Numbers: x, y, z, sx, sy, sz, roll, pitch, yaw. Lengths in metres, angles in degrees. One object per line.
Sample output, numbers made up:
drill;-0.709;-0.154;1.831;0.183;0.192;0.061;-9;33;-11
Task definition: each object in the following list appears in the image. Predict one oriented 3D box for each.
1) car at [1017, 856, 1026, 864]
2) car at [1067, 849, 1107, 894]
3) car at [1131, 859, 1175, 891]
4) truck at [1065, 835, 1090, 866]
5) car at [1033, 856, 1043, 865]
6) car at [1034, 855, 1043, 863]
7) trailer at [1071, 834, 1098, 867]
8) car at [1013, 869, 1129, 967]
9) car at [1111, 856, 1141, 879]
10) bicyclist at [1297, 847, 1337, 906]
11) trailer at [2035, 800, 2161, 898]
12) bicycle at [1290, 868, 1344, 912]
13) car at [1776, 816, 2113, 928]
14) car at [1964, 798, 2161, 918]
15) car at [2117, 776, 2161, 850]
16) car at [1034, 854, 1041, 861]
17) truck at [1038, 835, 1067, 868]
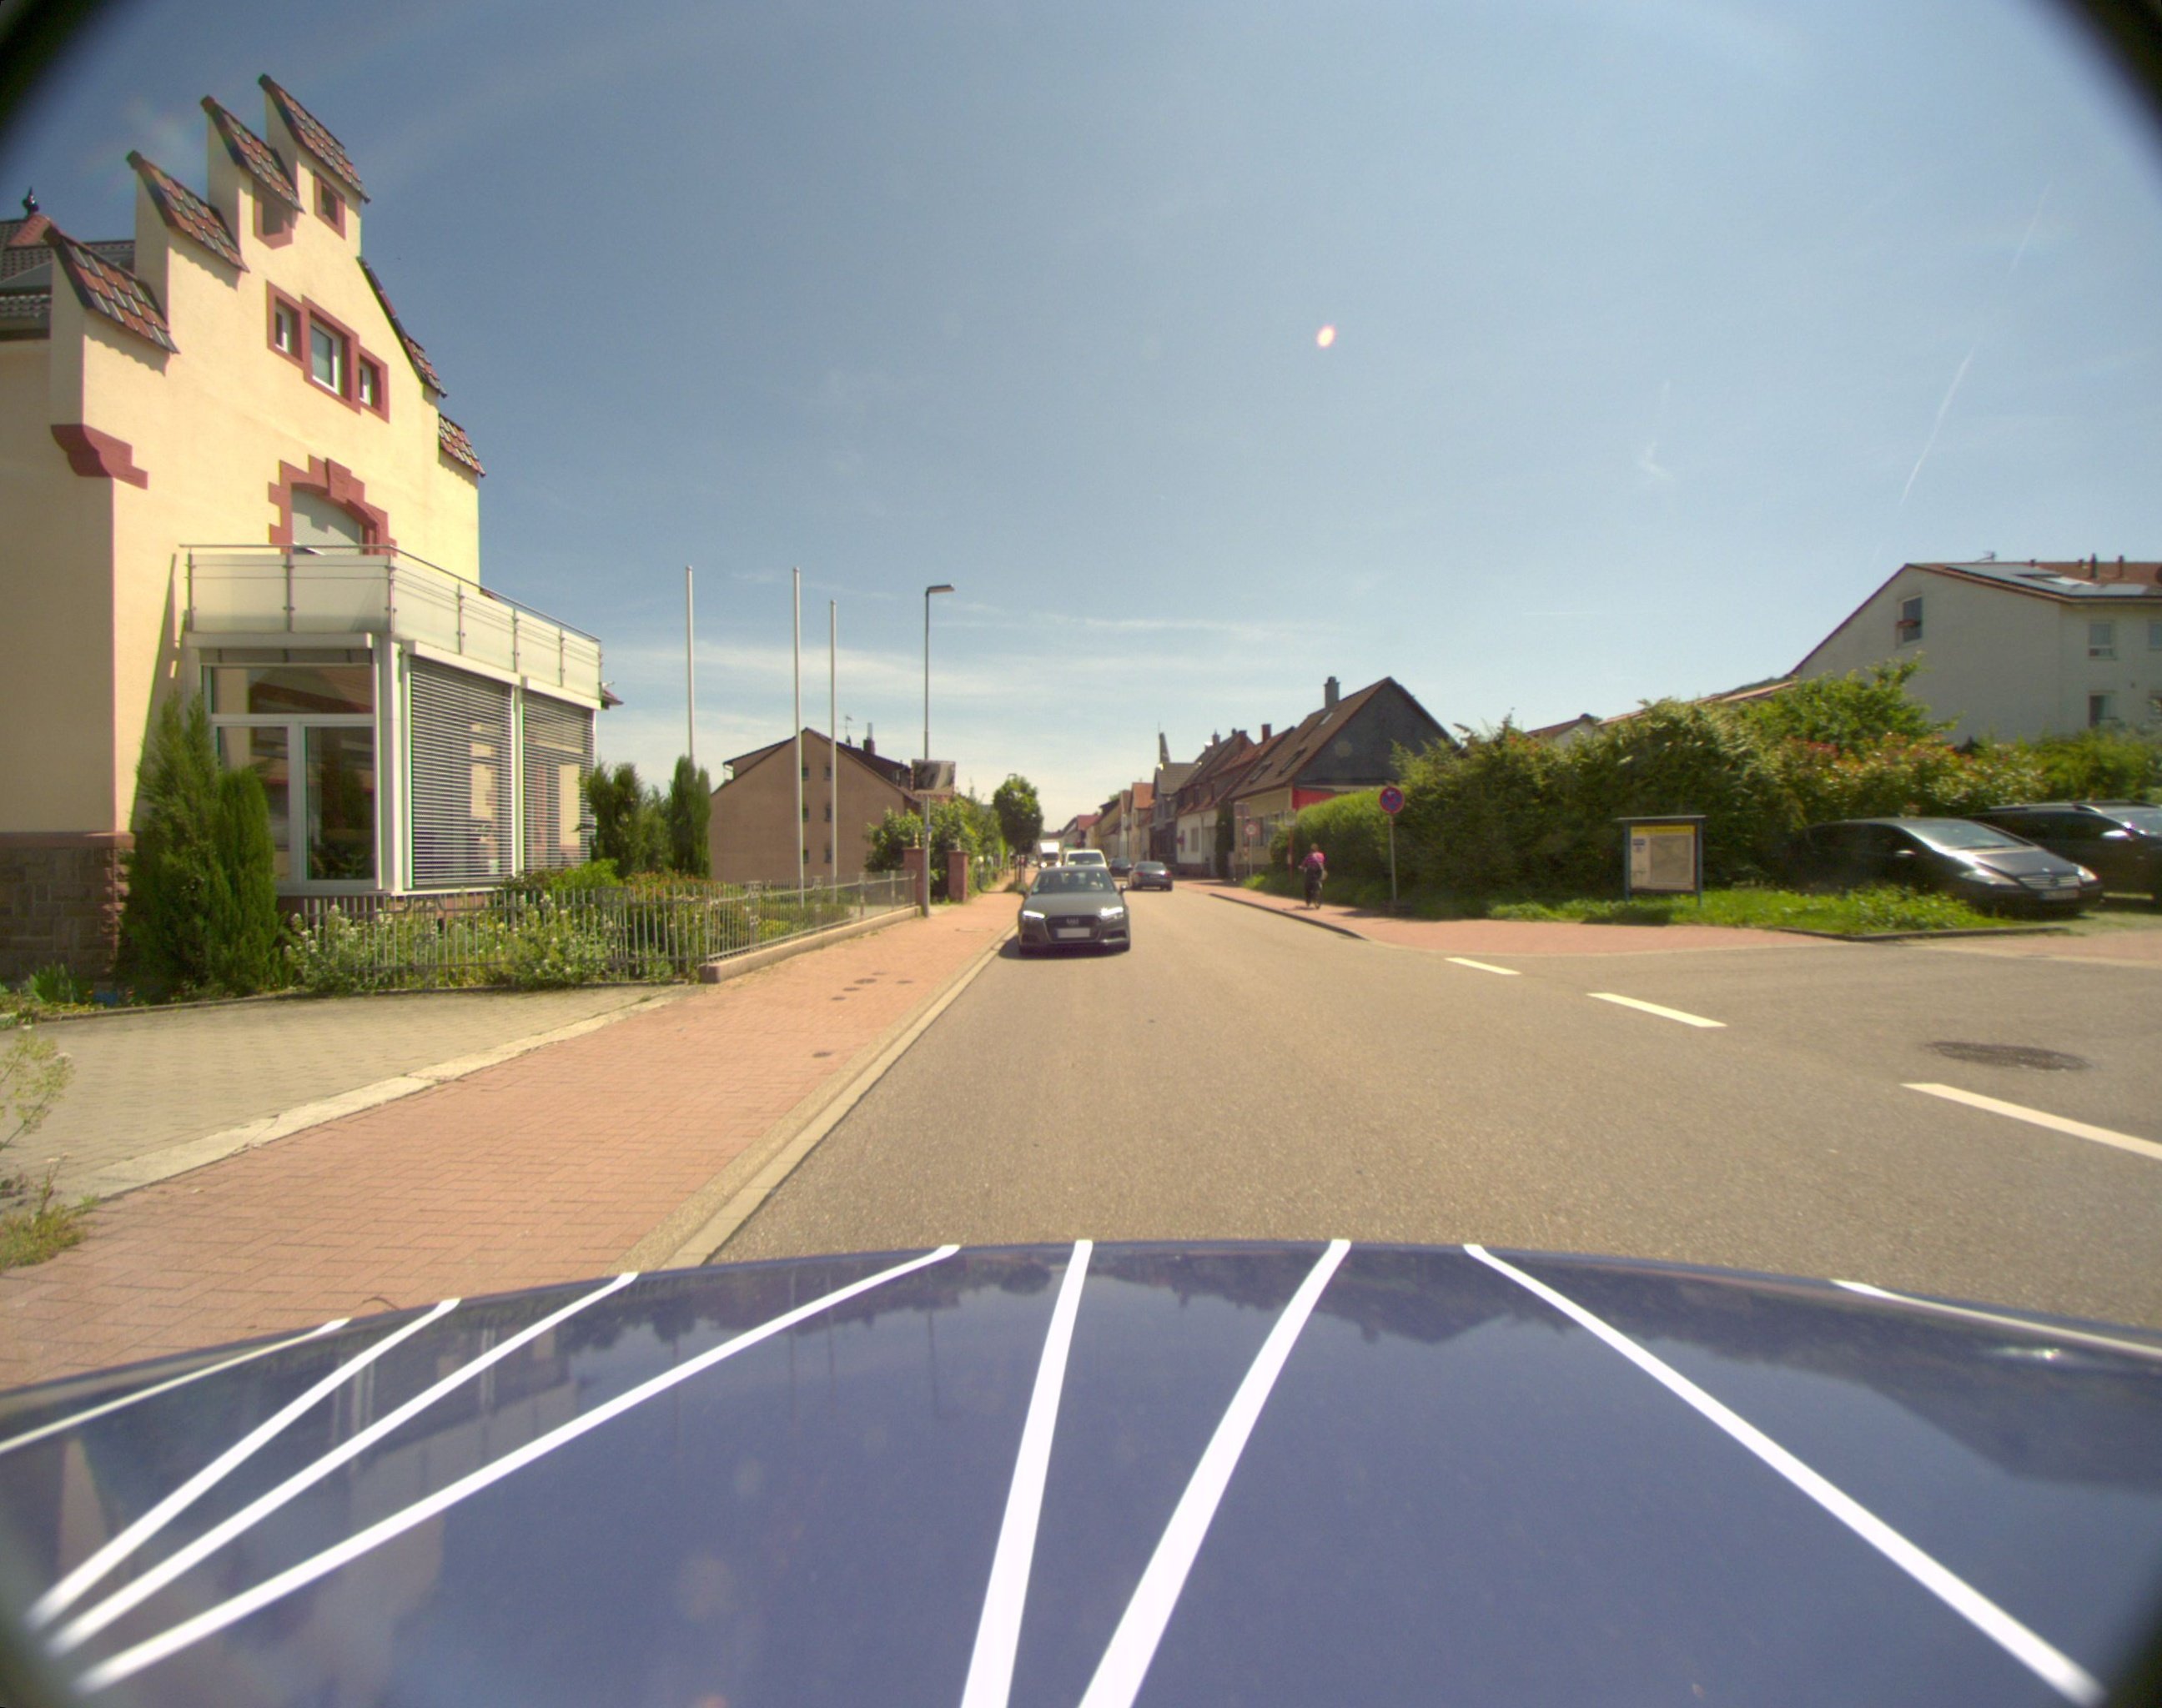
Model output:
car;-11.718;1.106;150.264;1.637;1.572;3.568;1;0;-4
car;0.216;0.723;33.644;1.637;1.833;3.569;-1;0;-1
car;3.312;0.945;35.666;1.710;1.362;3.868;2;0;1
truck;-0.490;-0.419;96.651;2.574;3.679;10.074;0;0;-4
car;-7.629;1.164;134.336;1.508;1.432;3.534;-3;1;-5
car;-8.468;0.999;150.858;1.508;1.432;3.534;-3;1;-5
trailer;0.308;-0.405;87.420;2.537;3.627;8.458;0;0;-4
car;-0.157;0.998;13.382;1.705;1.346;4.000;-2;0;0
car;2.990;0.883;51.226;1.734;1.451;4.694;0;0;0
bicyclist;6.286;0.590;20.286;0.660;1.485;0.909;-4;1;-3
trailer;19.494;-0.112;13.553;1.430;1.654;2.691;-5;0;-4
bicycle;6.305;0.939;20.412;0.673;1.050;2.025;-4;0;-3
car;14.227;0.252;12.880;1.627;1.532;3.652;-3;0;4
car;16.984;0.018;12.173;1.627;1.769;3.511;-3;0;4
car;27.212;-1.053;17.941;3.639;1.724;1.420;-3;1;-2
car;-9.544;0.849;167.155;1.508;1.432;3.534;-3;1;-5
truck;-3.401;-0.263;87.415;2.899;3.516;12.948;-1;0;-4
